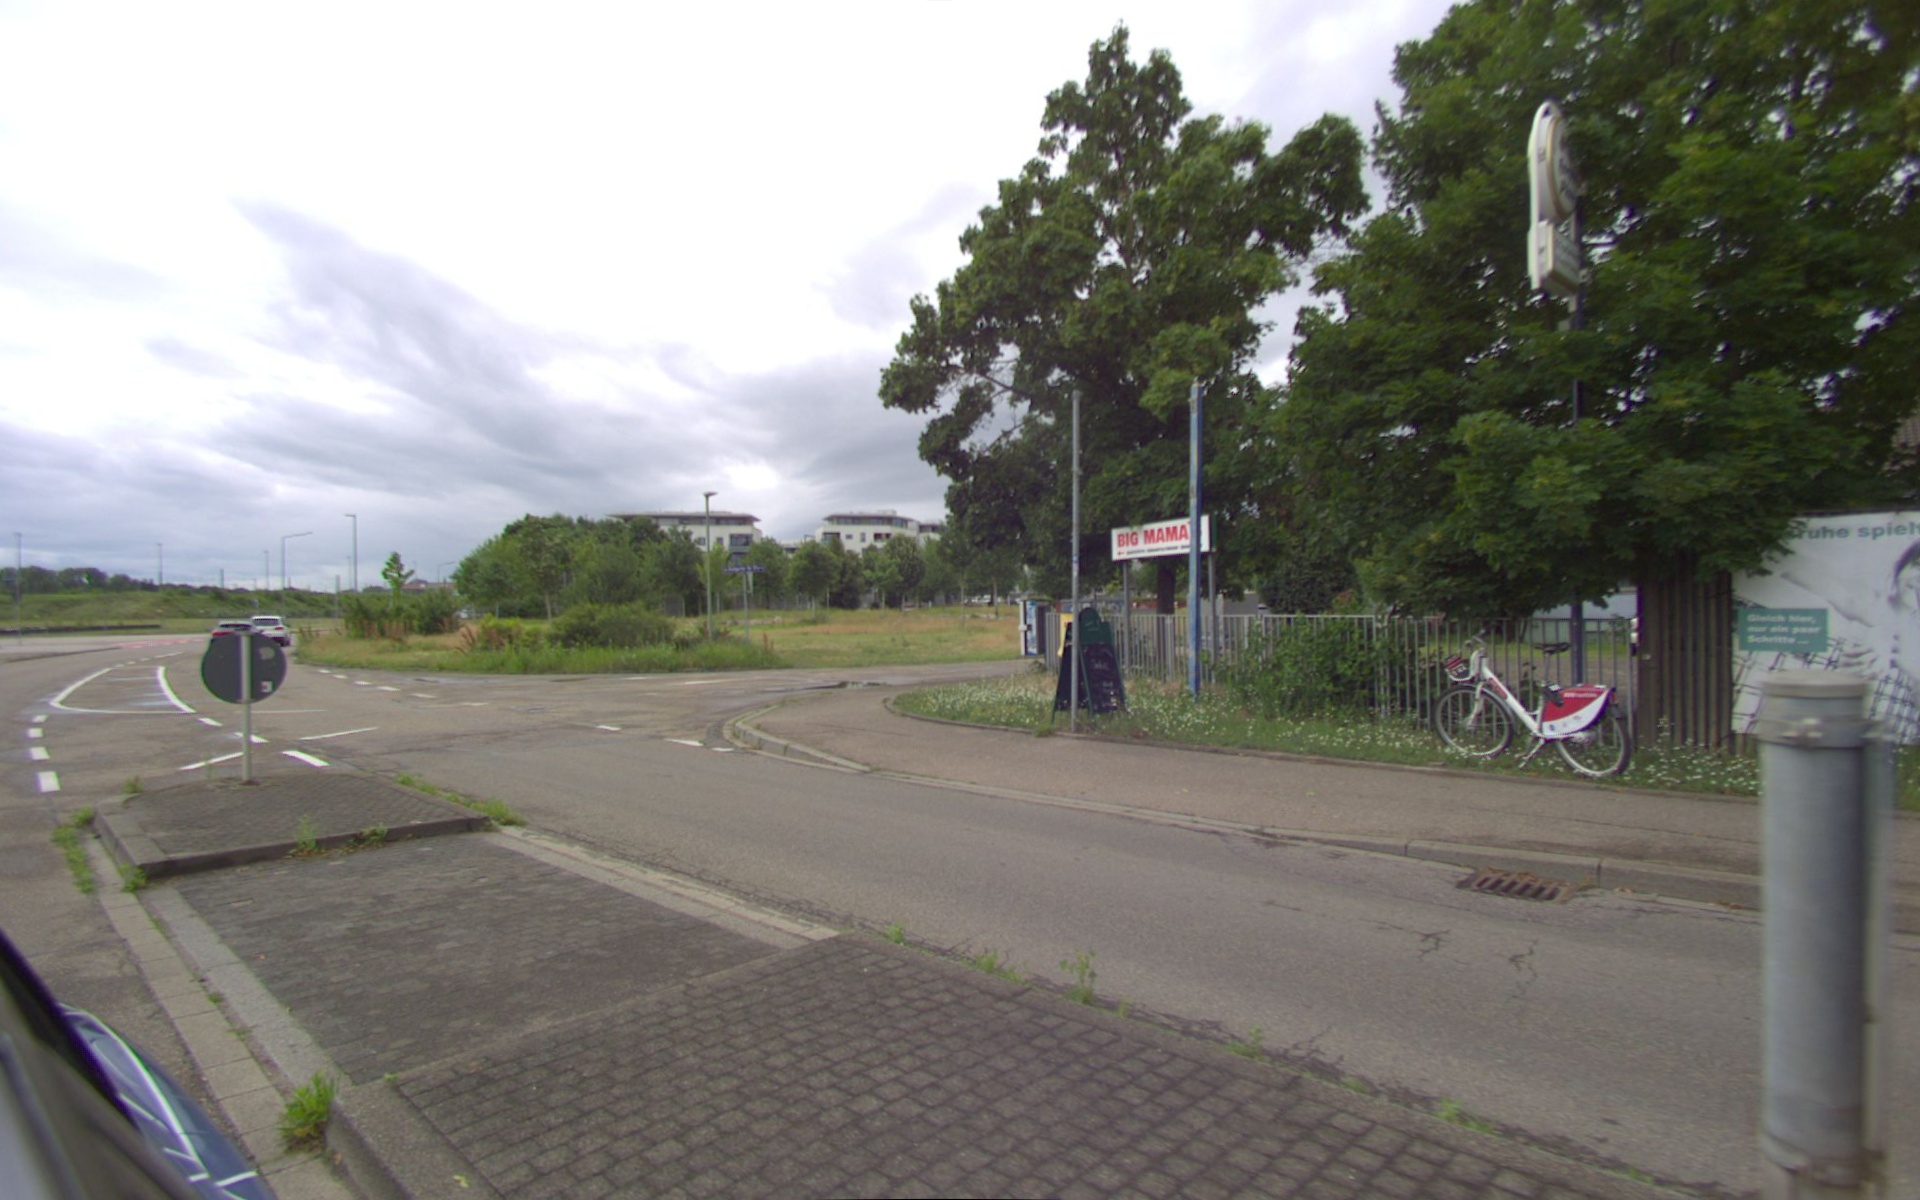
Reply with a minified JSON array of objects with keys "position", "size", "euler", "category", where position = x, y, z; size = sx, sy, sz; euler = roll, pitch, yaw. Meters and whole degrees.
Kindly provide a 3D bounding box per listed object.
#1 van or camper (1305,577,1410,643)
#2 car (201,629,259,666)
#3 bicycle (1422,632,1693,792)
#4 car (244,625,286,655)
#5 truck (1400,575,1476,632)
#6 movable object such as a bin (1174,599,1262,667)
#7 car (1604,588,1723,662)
[{"position":[17.013,0.429,43.197],"size":[2.521,2.608,5.067],"euler":[-2,-1,42],"category":"van or camper"},{"position":[-30.569,1.953,42.346],"size":[1.717,1.464,4.007],"euler":[0,-1,-39],"category":"car"},{"position":[4.512,0.790,7.804],"size":[0.574,1.006,1.776],"euler":[-3,1,-23],"category":"bicycle"},{"position":[-37.643,2.141,54.804],"size":[1.813,1.548,4.010],"euler":[0,-1,-35],"category":"car"},{"position":[24.967,0.193,52.770],"size":[2.001,2.856,5.057],"euler":[-2,-1,45],"category":"truck"},{"position":[8.390,1.008,32.792],"size":[1.683,2.075,2.748],"euler":[1,0,42],"category":"movable object such as a bin"},{"position":[18.790,0.641,26.961],"size":[2.000,1.818,3.943],"euler":[-2,-1,44],"category":"car"}]
